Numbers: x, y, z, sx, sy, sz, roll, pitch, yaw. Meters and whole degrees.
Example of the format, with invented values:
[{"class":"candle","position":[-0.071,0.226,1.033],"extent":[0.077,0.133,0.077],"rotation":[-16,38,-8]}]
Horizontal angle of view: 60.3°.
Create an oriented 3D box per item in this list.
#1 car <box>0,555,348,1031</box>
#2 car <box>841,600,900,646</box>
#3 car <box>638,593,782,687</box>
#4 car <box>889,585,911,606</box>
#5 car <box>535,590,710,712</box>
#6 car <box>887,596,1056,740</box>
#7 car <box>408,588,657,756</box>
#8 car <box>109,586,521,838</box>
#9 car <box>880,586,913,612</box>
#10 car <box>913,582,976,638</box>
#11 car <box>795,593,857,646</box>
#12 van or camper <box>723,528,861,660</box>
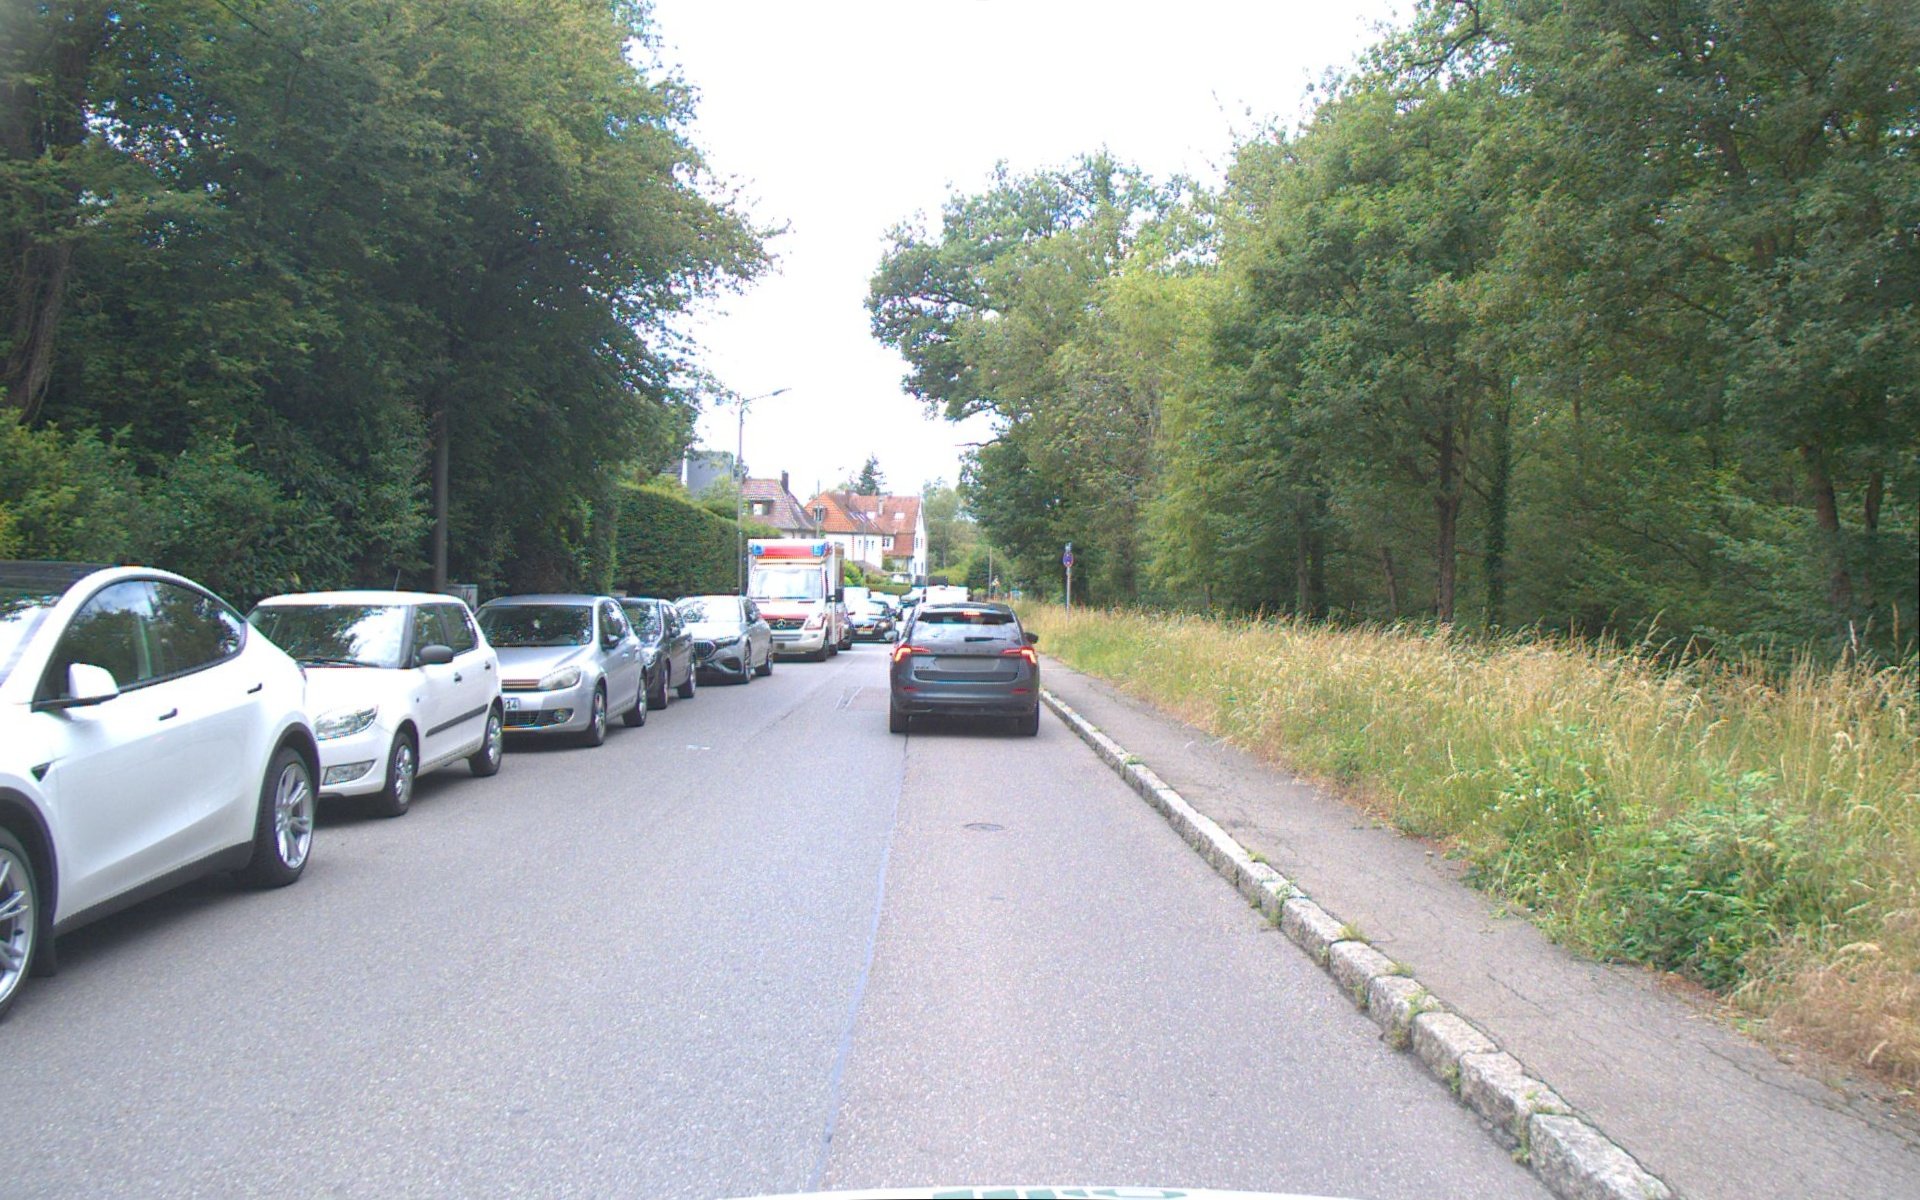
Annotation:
[{"class":"car","position":[-4.243,0.652,6.900],"extent":[1.878,1.589,4.601],"rotation":[-1,0,-3]},{"class":"car","position":[-2.981,0.744,55.672],"extent":[1.727,1.471,4.473],"rotation":[0,0,0]},{"class":"car","position":[-4.407,0.656,29.810],"extent":[1.761,1.531,4.863],"rotation":[-1,0,1]},{"class":"car","position":[-5.154,-0.419,142.859],"extent":[1.797,1.624,4.323],"rotation":[2,1,-2]},{"class":"car","position":[-4.629,0.646,23.213],"extent":[1.685,1.531,4.059],"rotation":[-1,0,-2]},{"class":"car","position":[0.035,0.728,19.939],"extent":[1.694,1.464,4.320],"rotation":[2,1,-4]},{"class":"car","position":[-4.337,0.663,17.357],"extent":[1.686,1.531,4.006],"rotation":[-1,0,-2]},{"class":"car","position":[-4.520,0.681,12.216],"extent":[1.686,1.531,3.815],"rotation":[-1,0,-3]},{"class":"car","position":[-3.718,-0.081,97.544],"extent":[1.825,1.439,4.591],"rotation":[2,0,-2]},{"class":"car","position":[-0.621,0.322,62.016],"extent":[2.031,1.955,4.918],"rotation":[2,0,-4]},{"class":"car","position":[-3.908,0.537,48.657],"extent":[1.729,1.471,4.470],"rotation":[0,0,-4]},{"class":"van or camper","position":[-3.975,-0.151,40.572],"extent":[2.405,2.945,7.169],"rotation":[0,0,2]}]
